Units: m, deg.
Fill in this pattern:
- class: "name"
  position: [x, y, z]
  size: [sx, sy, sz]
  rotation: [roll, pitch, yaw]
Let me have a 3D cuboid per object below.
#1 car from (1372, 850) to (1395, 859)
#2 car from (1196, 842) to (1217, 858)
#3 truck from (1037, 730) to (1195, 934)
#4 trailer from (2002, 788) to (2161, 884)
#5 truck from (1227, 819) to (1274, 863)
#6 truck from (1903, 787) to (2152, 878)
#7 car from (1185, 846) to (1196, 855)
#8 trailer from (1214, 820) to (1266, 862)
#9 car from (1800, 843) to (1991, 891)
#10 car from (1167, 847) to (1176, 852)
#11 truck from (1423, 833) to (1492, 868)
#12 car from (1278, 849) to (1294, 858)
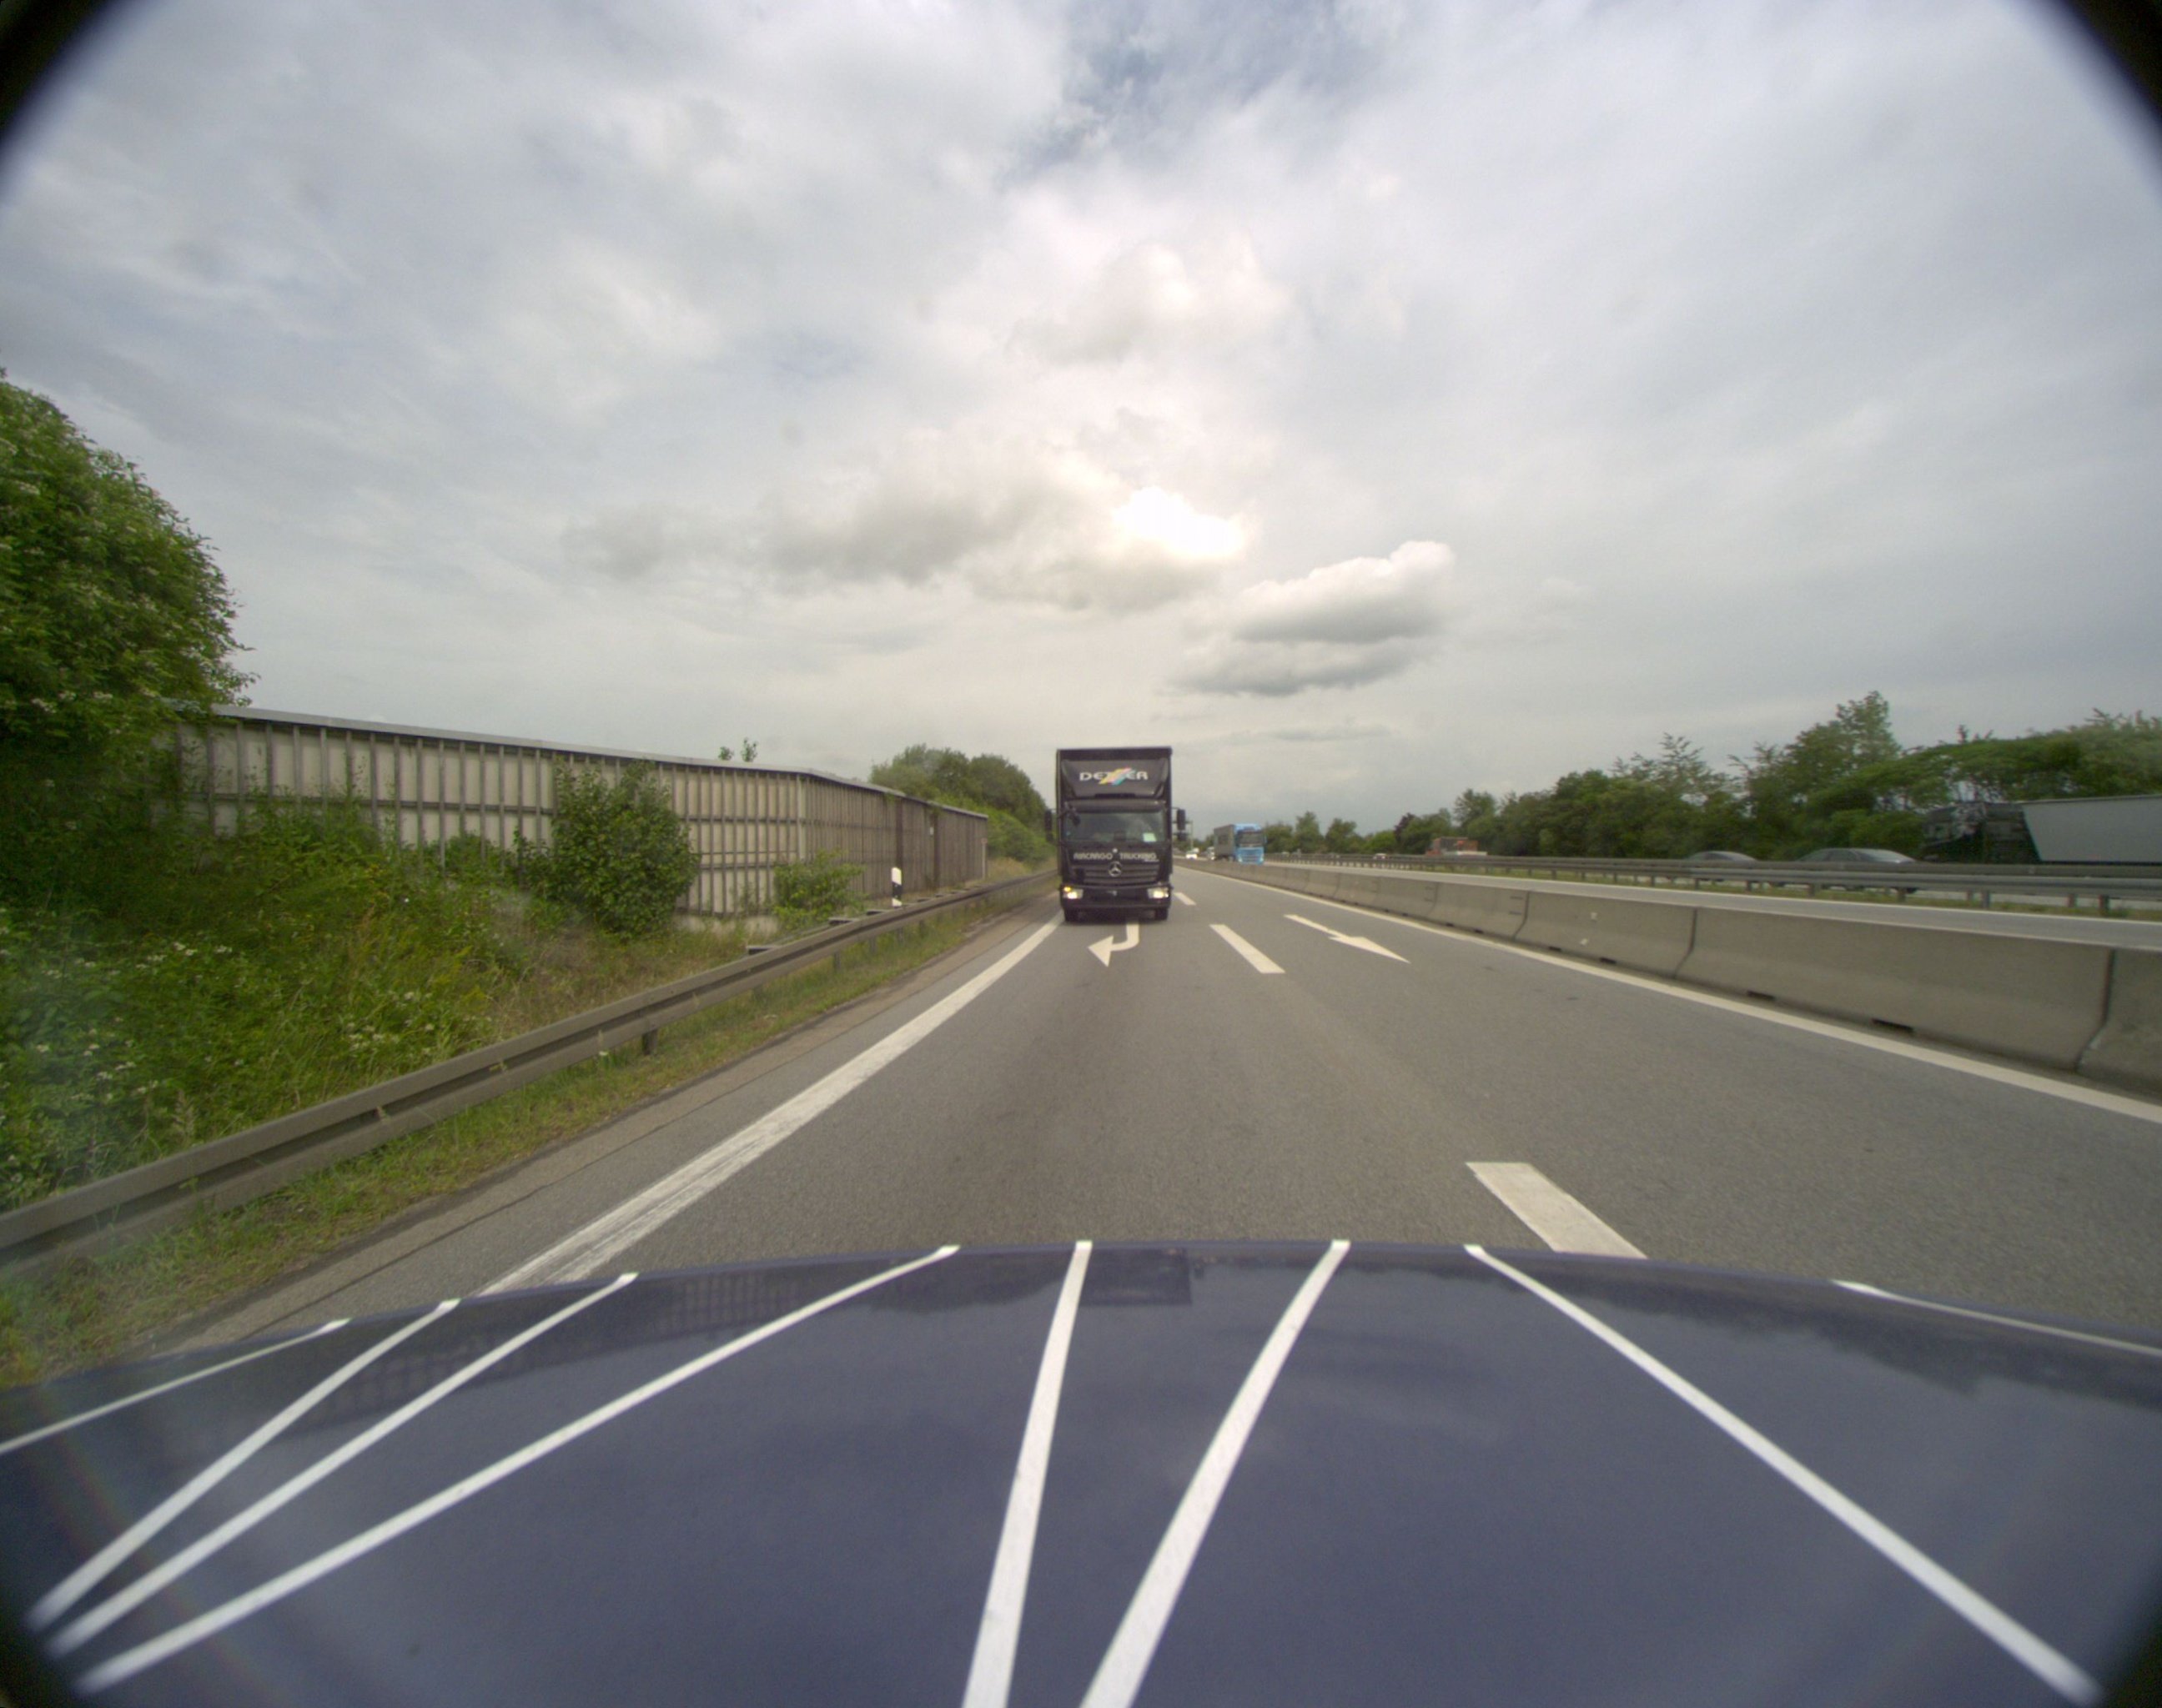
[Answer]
- class: "car"
  position: [41.571, 0.096, 104.427]
  size: [1.691, 1.186, 4.004]
  rotation: [-1, 1, 2]
- class: "car"
  position: [16.054, -0.519, 97.142]
  size: [2.004, 1.927, 5.132]
  rotation: [-2, 1, 2]
- class: "truck"
  position: [0.873, -0.464, 20.031]
  size: [3.024, 3.932, 10.340]
  rotation: [-1, 1, 2]
- class: "trailer"
  position: [38.188, -0.641, 25.287]
  size: [3.205, 3.250, 9.823]
  rotation: [-1, 1, 0]
- class: "truck"
  position: [15.802, -1.191, 71.329]
  size: [3.254, 3.889, 6.610]
  rotation: [-1, 1, 3]
- class: "truck"
  position: [38.186, -0.826, 31.037]
  size: [3.158, 3.311, 5.621]
  rotation: [-1, 1, 0]
- class: "car"
  position: [17.690, -0.533, 122.310]
  size: [1.684, 1.476, 3.777]
  rotation: [-1, -1, 9]
- class: "trailer"
  position: [16.102, -1.306, 78.022]
  size: [3.243, 3.902, 12.380]
  rotation: [-2, 1, 3]
- class: "car"
  position: [25.134, 0.357, 23.679]
  size: [1.756, 1.361, 4.000]
  rotation: [-1, 1, 2]
- class: "car"
  position: [22.222, -1.097, 185.779]
  size: [1.756, 1.361, 4.205]
  rotation: [-1, 1, 1]
- class: "truck"
  position: [27.277, -0.252, 55.340]
  size: [2.281, 2.356, 6.201]
  rotation: [-1, 1, 3]
- class: "car"
  position: [34.689, -0.068, 128.812]
  size: [1.691, 1.460, 4.004]
  rotation: [-1, 1, 2]
